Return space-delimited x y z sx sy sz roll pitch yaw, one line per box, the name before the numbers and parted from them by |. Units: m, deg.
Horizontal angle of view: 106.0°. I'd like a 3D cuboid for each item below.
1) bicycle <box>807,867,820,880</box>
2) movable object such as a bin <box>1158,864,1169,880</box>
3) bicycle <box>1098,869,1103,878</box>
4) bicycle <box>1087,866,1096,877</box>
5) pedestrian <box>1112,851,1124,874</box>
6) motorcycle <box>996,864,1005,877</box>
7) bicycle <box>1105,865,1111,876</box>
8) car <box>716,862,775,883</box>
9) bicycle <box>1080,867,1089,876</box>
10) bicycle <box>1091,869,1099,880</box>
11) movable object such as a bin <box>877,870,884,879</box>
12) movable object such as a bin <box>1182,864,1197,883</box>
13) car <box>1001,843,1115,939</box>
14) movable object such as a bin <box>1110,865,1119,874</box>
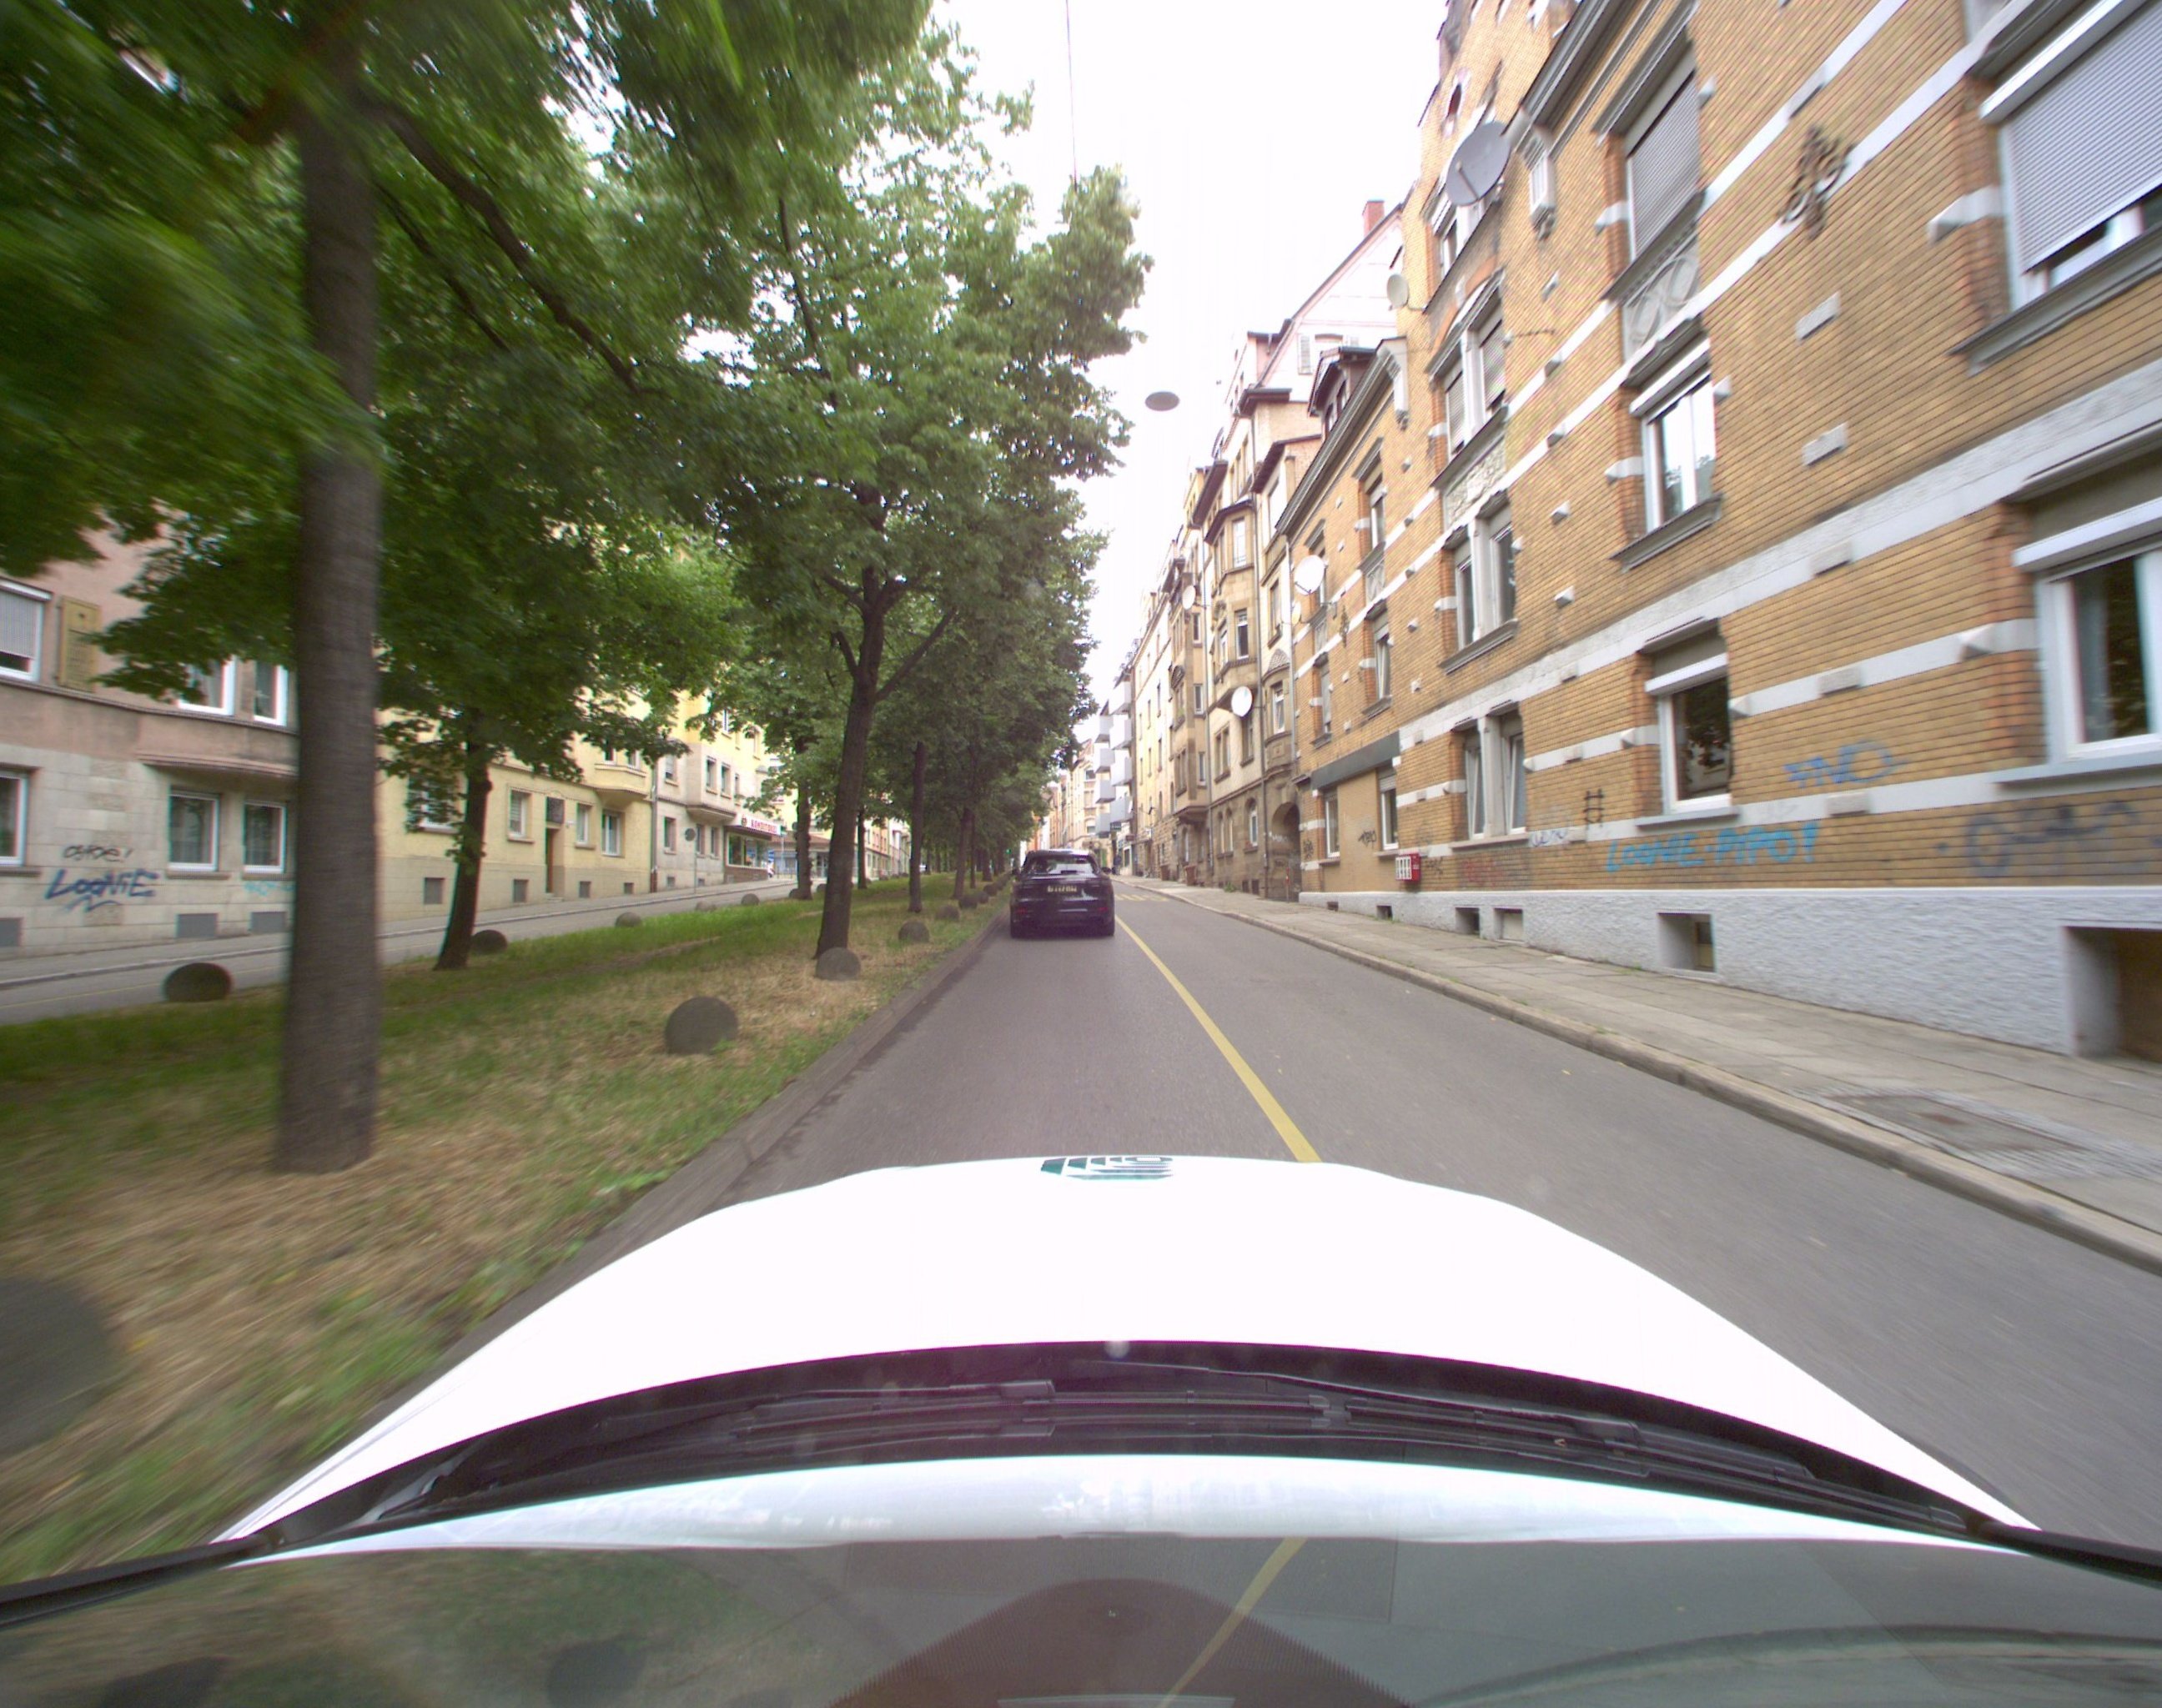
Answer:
bicycle | -22.812 1.695 69.541 0.766 1.085 2.019 2 -3 -26
movable object such as a bin | 4.726 1.022 46.668 0.593 0.904 0.502 0 -5 -3
bicycle | 2.318 2.313 96.298 0.348 1.059 1.830 2 -1 -6
bicycle | 0.961 1.620 75.370 0.287 0.931 1.750 1 -2 -17
pedestrian | 2.880 0.673 63.502 0.749 1.693 0.857 -1 -2 -3
motorcycle | -9.681 1.997 97.879 1.018 1.446 2.242 -2 -2 -5
bicycle | 3.166 1.985 96.049 0.446 1.161 1.831 -1 3 -6
car | -27.238 1.494 66.188 4.060 1.479 1.801 -3 -1 -37
bicycle | 0.414 2.123 97.921 0.877 1.129 2.973 0 -2 -5
bicycle | 1.267 1.809 72.568 0.568 0.931 1.771 0 -2 -4
movable object such as a bin | -24.118 2.489 98.008 0.692 1.060 0.687 0 -3 -10
movable object such as a bin | 5.087 0.911 38.204 0.593 0.904 0.562 0 -1 -3
car | -0.391 0.677 16.530 1.987 1.665 4.000 -1 -1 0
movable object such as a bin | 2.663 1.219 64.329 0.606 0.669 0.857 -1 -2 -3
